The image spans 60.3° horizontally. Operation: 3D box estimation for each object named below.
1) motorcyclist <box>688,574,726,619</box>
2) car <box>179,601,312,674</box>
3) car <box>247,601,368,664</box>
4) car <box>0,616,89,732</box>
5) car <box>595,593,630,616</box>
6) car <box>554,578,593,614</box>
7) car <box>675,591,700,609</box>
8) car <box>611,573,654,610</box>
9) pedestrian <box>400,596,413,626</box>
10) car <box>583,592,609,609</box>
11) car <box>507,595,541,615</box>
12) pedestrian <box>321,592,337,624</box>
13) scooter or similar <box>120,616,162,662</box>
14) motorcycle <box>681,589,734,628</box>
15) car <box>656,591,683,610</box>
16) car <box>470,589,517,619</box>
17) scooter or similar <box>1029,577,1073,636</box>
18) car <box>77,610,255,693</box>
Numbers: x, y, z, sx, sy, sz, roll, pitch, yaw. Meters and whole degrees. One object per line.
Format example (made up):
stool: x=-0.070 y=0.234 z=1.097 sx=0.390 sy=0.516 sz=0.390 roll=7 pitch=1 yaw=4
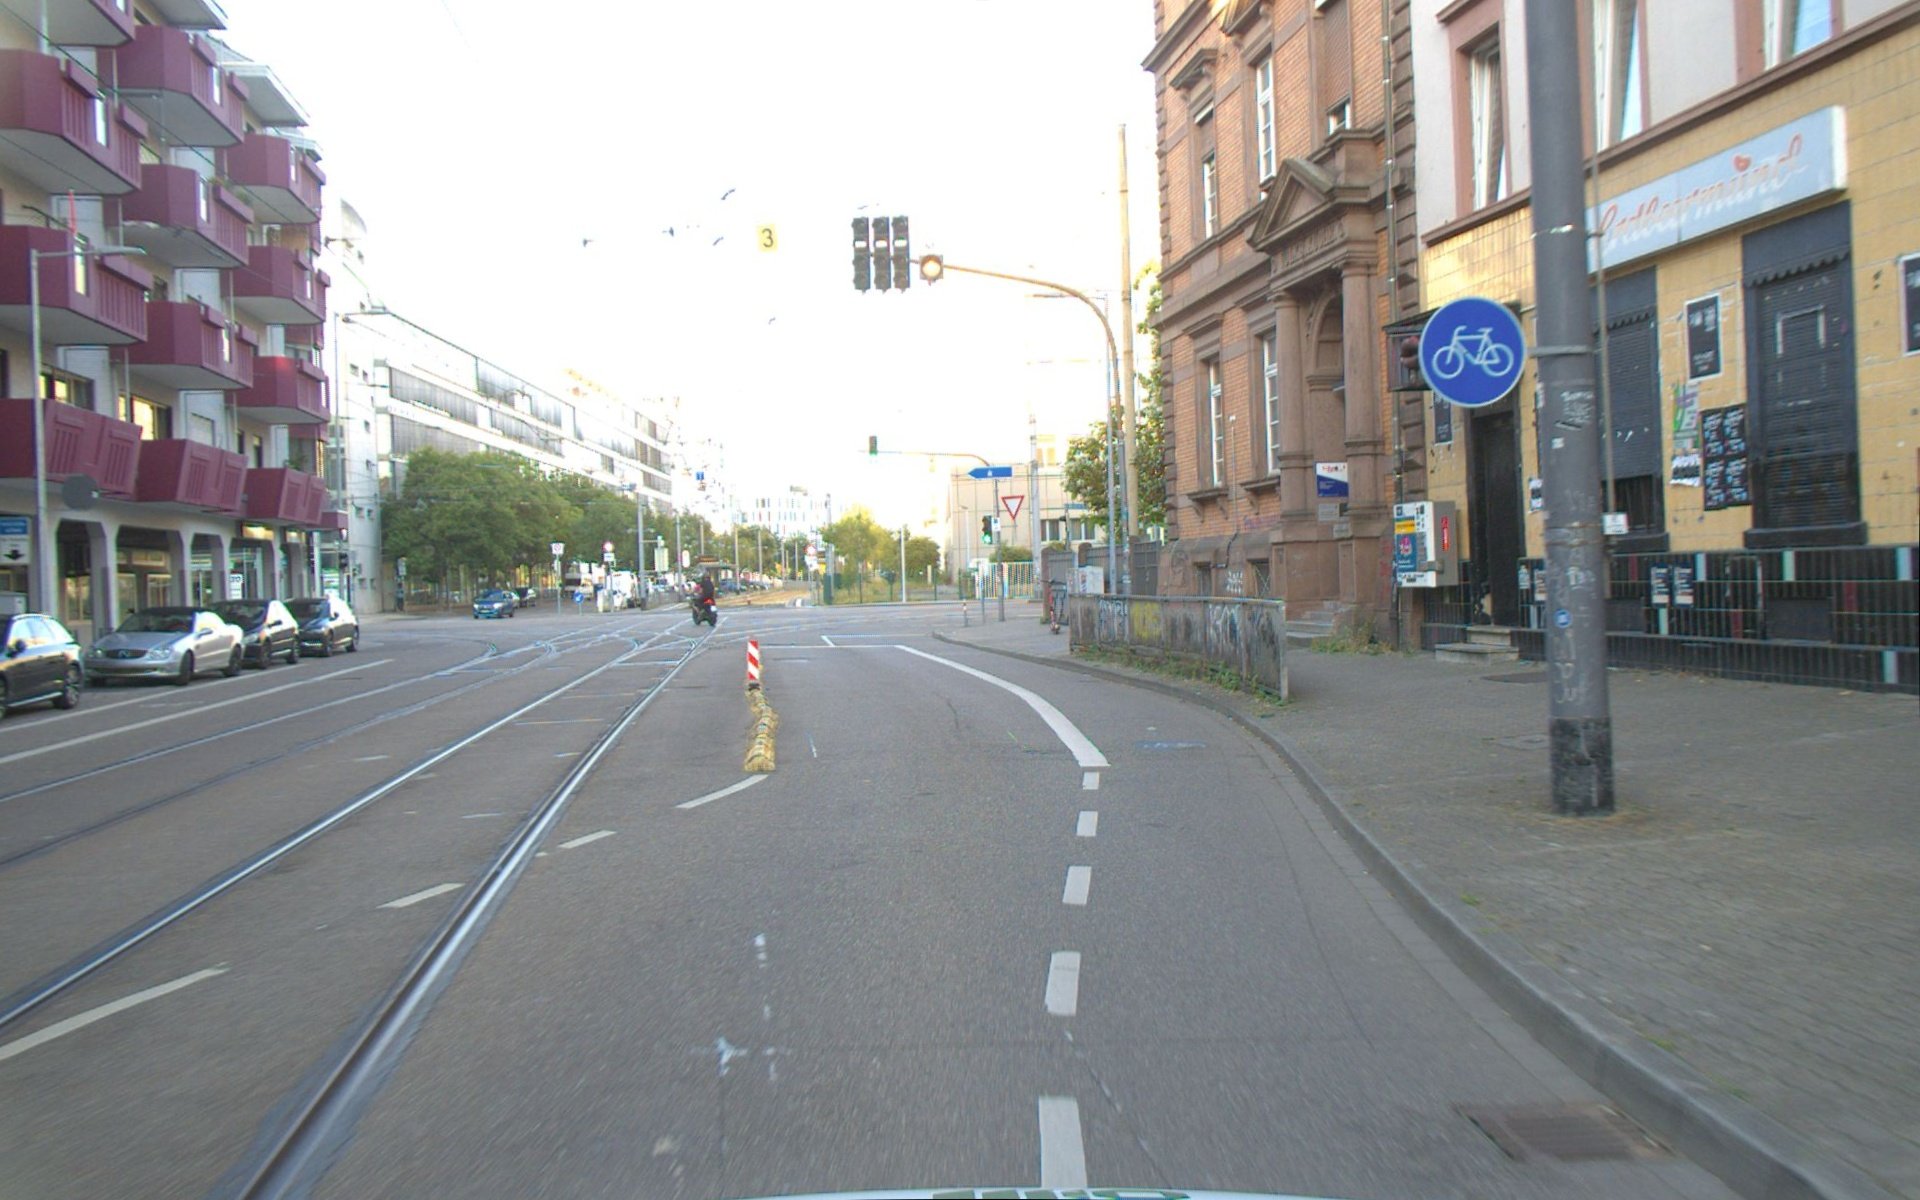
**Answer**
motorcyclist: x=-8.587 y=-0.113 z=56.139 sx=0.820 sy=1.499 sz=1.194 roll=-2 pitch=1 yaw=-32
car: x=-16.230 y=0.818 z=37.774 sx=1.755 sy=1.535 sz=4.192 roll=-1 pitch=0 yaw=-8
car: x=-17.093 y=0.815 z=43.567 sx=1.817 sy=1.482 sz=5.076 roll=-2 pitch=0 yaw=-8
car: x=-14.032 y=1.004 z=23.243 sx=1.958 sy=1.505 sz=4.470 roll=0 pitch=0 yaw=-11
car: x=-23.952 y=0.268 z=114.068 sx=1.649 sy=1.464 sz=4.124 roll=-2 pitch=1 yaw=-2
car: x=-36.048 y=-0.434 z=154.302 sx=2.157 sy=3.206 sz=6.141 roll=-2 pitch=1 yaw=-1
car: x=-24.316 y=-0.038 z=147.632 sx=1.649 sy=1.464 sz=4.124 roll=-2 pitch=1 yaw=-2
car: x=-23.758 y=-0.646 z=120.169 sx=2.413 sy=2.525 sz=5.802 roll=-2 pitch=1 yaw=-6
pedestrian: x=-36.780 y=0.705 z=109.933 sx=0.650 sy=1.955 sz=0.546 roll=-3 pitch=1 yaw=-13
car: x=-36.123 y=0.027 z=164.174 sx=1.649 sy=1.528 sz=4.238 roll=-2 pitch=1 yaw=-1
car: x=-35.020 y=0.395 z=132.974 sx=1.649 sy=1.528 sz=4.238 roll=-2 pitch=1 yaw=-1
pedestrian: x=-35.004 y=0.424 z=91.764 sx=0.535 sy=1.741 sz=0.660 roll=-2 pitch=0 yaw=8
scooter or similar: x=-22.119 y=1.046 z=44.691 sx=0.539 sy=1.186 sz=1.477 roll=-2 pitch=0 yaw=-8
motorcycle: x=-8.586 y=0.298 z=56.151 sx=0.820 sy=1.261 sz=2.463 roll=-2 pitch=1 yaw=-32
car: x=-24.451 y=0.006 z=139.265 sx=1.649 sy=1.464 sz=4.124 roll=-2 pitch=1 yaw=-2
car: x=-29.054 y=0.222 z=103.143 sx=1.648 sy=1.729 sz=4.239 roll=-2 pitch=1 yaw=0
scooter or similar: x=2.081 y=0.138 z=38.023 sx=0.629 sy=1.288 sz=1.580 roll=-4 pitch=1 yaw=-8
car: x=-15.205 y=0.932 z=31.942 sx=1.659 sy=1.438 sz=4.670 roll=0 pitch=0 yaw=-7
